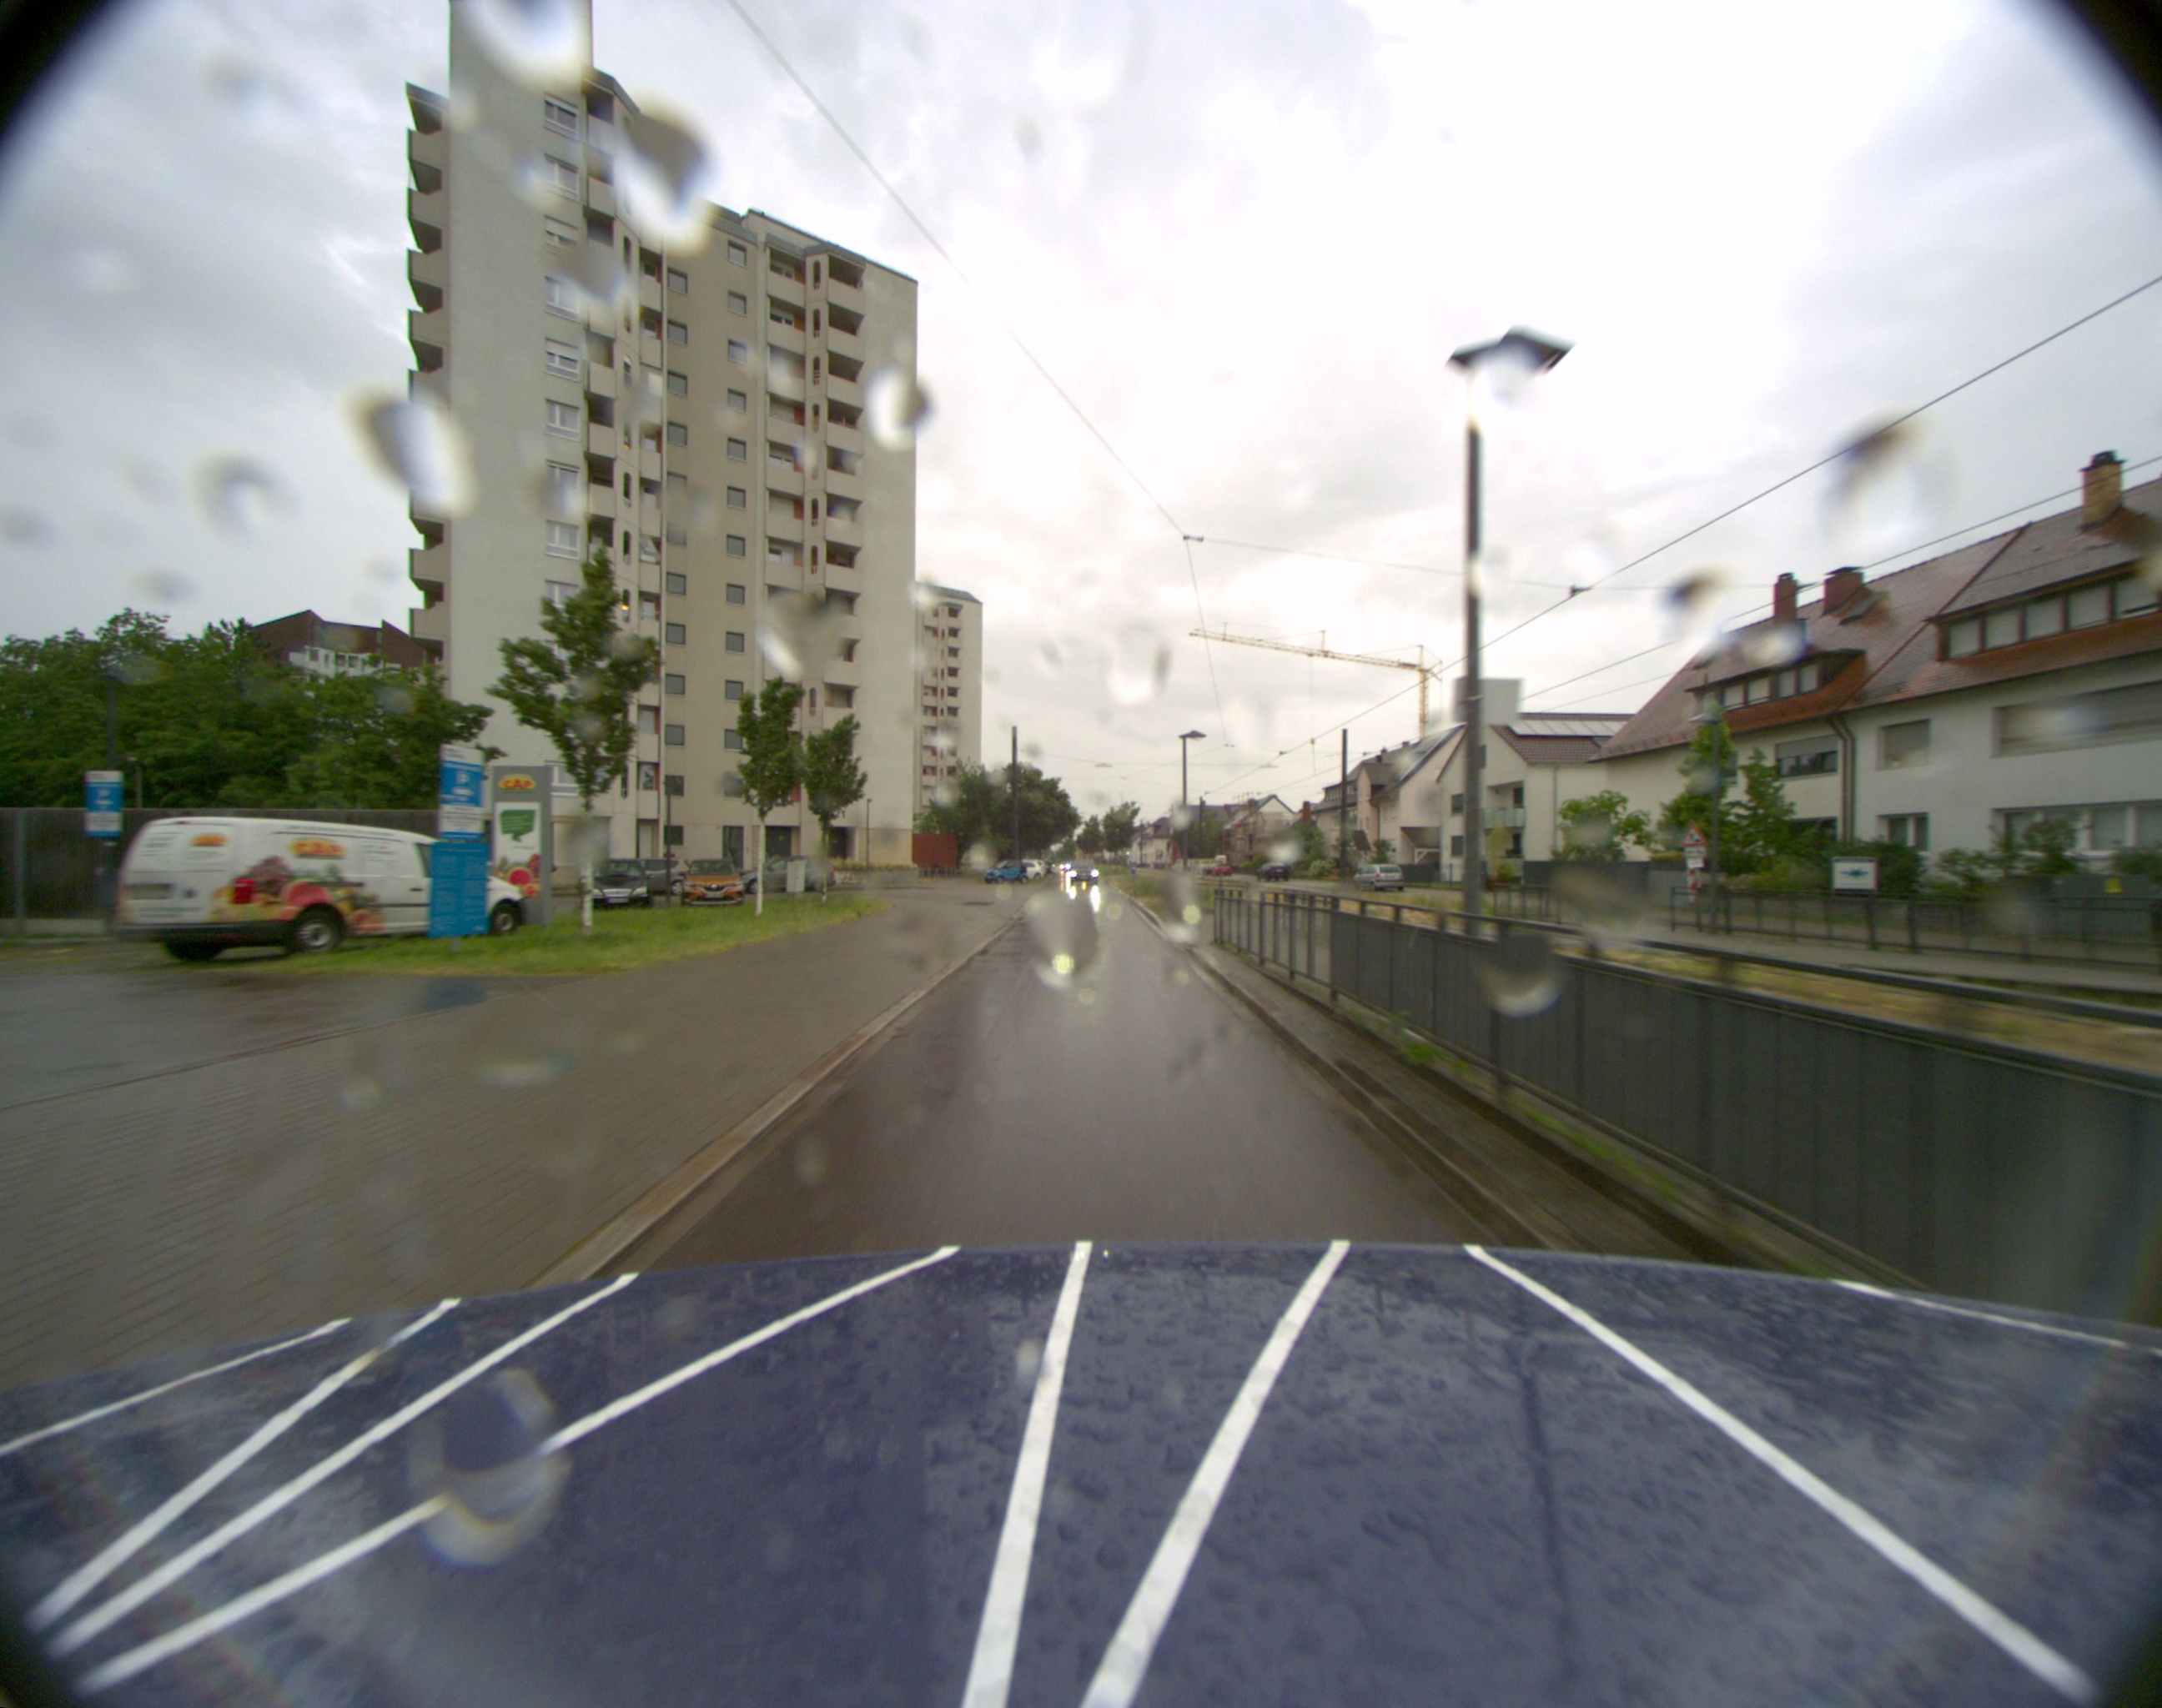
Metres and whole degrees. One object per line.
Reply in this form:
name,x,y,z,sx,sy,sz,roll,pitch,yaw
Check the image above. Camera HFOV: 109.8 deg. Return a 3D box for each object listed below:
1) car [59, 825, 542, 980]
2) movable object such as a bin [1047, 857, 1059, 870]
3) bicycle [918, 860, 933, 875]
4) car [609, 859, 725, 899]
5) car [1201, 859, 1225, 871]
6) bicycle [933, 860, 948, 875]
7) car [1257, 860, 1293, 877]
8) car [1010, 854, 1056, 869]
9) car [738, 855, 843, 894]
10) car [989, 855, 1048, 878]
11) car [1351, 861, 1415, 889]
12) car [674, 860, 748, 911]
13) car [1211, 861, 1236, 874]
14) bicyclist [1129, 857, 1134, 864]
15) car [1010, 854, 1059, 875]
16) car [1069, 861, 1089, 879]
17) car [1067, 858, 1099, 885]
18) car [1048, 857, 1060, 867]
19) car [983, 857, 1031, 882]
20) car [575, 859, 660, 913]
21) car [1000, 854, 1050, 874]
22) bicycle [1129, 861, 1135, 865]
car,-10.780,0.594,11.242,1.968,1.773,4.898,-1,-1,3
movable object such as a bin,-3.534,1.222,95.533,1.165,1.553,1.372,-1,1,-24
bicycle,-10.956,0.972,53.609,0.663,1.000,2.058,-1,1,0
car,-17.236,1.009,31.702,4.119,1.524,1.811,-1,0,-30
car,15.716,1.295,90.516,1.999,1.401,4.174,-1,-1,-2
bicycle,-9.921,0.915,53.559,0.663,1.000,2.058,-1,1,0
car,16.345,1.223,64.118,1.841,1.418,4.174,-1,-1,-2
car,-5.028,0.780,79.612,4.470,1.419,1.680,4,-2,-34
car,-13.043,0.878,34.133,4.119,1.607,1.811,-1,0,-30
car,-4.787,0.990,58.367,4.196,1.538,1.760,4,-2,-40
car,16.776,1.147,42.366,1.999,1.405,3.657,-1,1,-2
car,-12.063,0.946,24.677,2.003,1.433,3.991,-1,1,-28
car,15.911,1.481,85.090,1.999,1.365,3.842,-1,1,-2
bicyclist,11.615,1.561,174.573,0.956,1.575,1.400,-1,1,-2
car,-4.307,0.992,70.758,4.195,1.661,1.680,4,-2,-37
car,-0.155,1.637,79.339,1.998,1.761,3.999,-1,1,0
car,0.104,1.125,50.292,1.999,1.611,3.999,-1,1,-1
car,-4.940,1.368,138.004,1.998,1.696,3.999,-1,1,0
car,-4.766,0.974,48.981,2.570,1.539,1.598,0,1,-40
car,-14.372,0.919,23.760,2.003,1.433,3.991,-1,1,-28
car,-5.380,0.992,72.889,4.471,1.661,1.808,4,-2,-39
bicycle,11.642,2.038,174.356,0.937,1.037,3.433,1,0,-3
